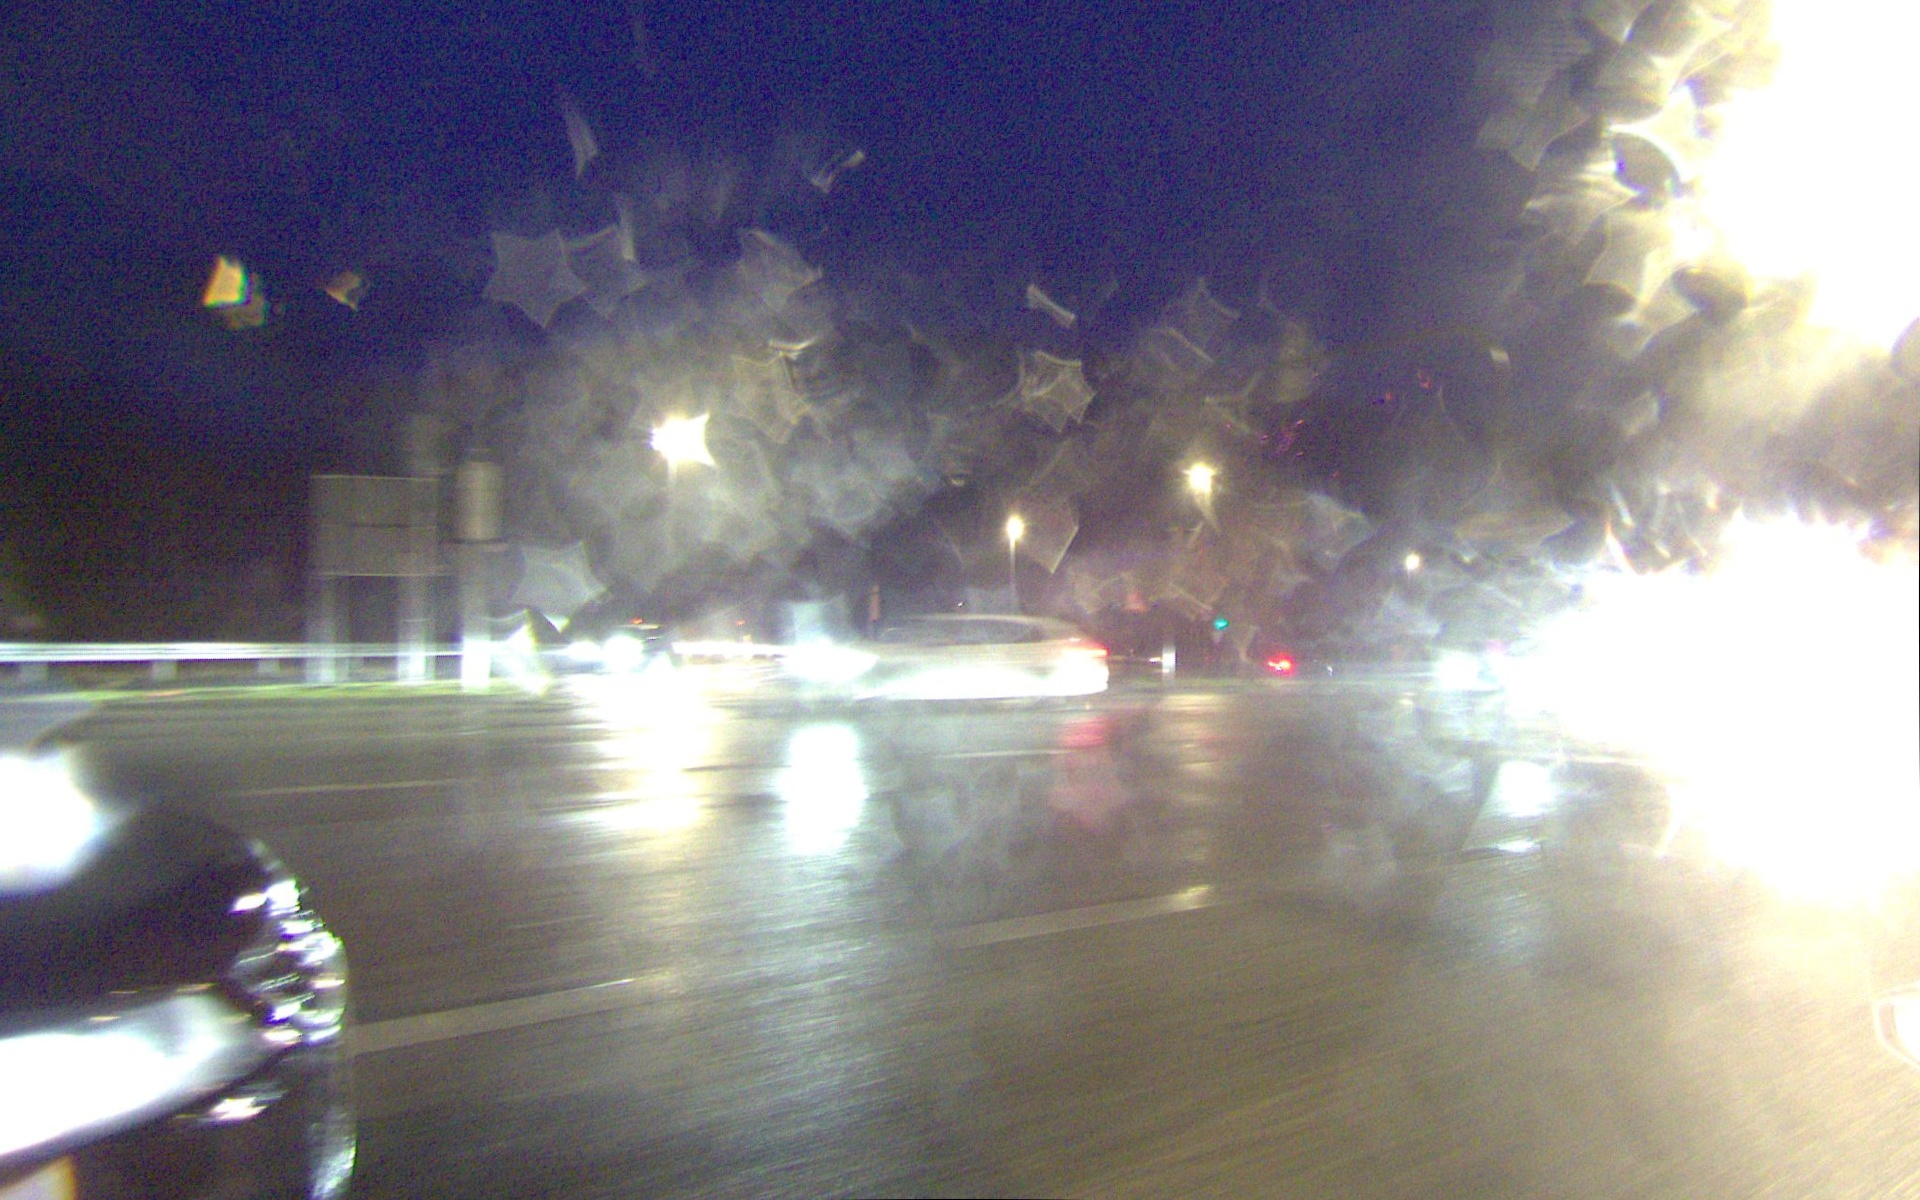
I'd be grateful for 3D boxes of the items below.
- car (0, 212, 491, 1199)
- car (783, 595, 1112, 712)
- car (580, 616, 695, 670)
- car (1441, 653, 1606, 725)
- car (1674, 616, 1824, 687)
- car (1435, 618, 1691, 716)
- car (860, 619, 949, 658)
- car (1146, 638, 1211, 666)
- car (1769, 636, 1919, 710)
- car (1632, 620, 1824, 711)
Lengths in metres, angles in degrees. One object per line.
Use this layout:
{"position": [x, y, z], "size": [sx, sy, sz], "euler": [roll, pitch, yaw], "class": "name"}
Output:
{"position": [-3.265, 0.348, 1.002], "size": [4.883, 1.726, 1.900], "euler": [2, -1, -31], "class": "car"}
{"position": [-0.120, 0.810, 15.618], "size": [4.856, 1.592, 1.783], "euler": [2, -1, -30], "class": "car"}
{"position": [-9.847, 1.286, 31.006], "size": [2.138, 1.468, 4.137], "euler": [2, -1, 0], "class": "car"}
{"position": [13.097, 2.054, 23.324], "size": [3.684, 1.473, 1.660], "euler": [3, -2, -30], "class": "car"}
{"position": [21.335, 1.408, 27.139], "size": [3.957, 1.743, 1.982], "euler": [3, -2, -33], "class": "car"}
{"position": [11.001, 1.193, 18.287], "size": [4.648, 1.592, 1.694], "euler": [2, -1, -25], "class": "car"}
{"position": [-2.991, 2.128, 54.949], "size": [1.971, 1.965, 4.900], "euler": [1, -2, 41], "class": "car"}
{"position": [15.503, 3.699, 71.369], "size": [4.031, 1.806, 1.995], "euler": [3, -1, -13], "class": "car"}
{"position": [20.664, 1.682, 23.248], "size": [3.603, 1.545, 1.580], "euler": [3, -2, -25], "class": "car"}
{"position": [16.038, 1.369, 20.958], "size": [3.898, 1.713, 1.675], "euler": [3, -2, -27], "class": "car"}
